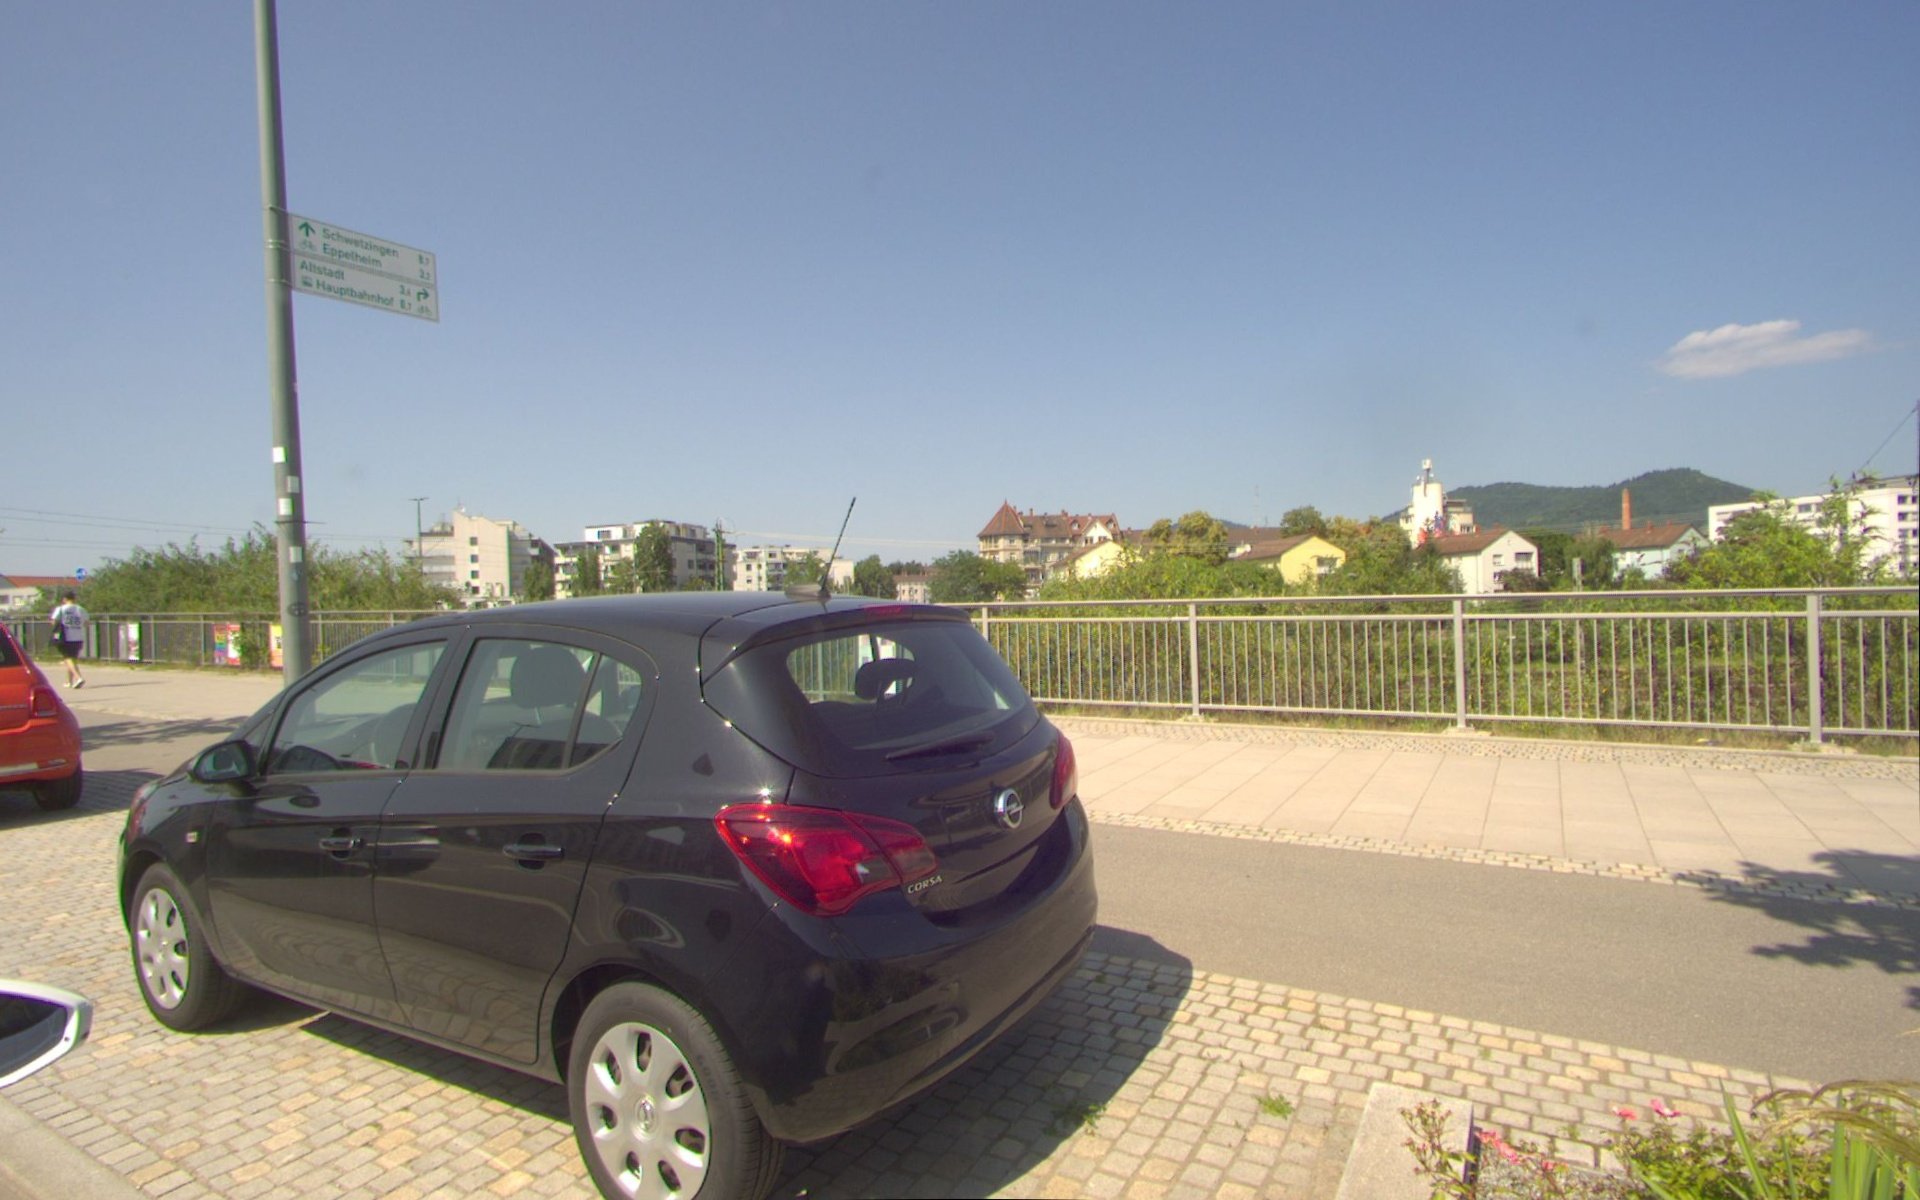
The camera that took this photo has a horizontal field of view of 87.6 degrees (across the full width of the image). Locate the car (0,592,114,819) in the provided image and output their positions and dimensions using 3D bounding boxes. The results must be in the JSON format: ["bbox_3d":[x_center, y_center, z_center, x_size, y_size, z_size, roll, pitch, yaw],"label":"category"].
[{"bbox_3d":[-8.377,0.752,7.731,3.860,1.561,1.666,0,1,32],"label":"car"}]

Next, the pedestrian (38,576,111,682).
[{"bbox_3d":[-16.039,0.536,18.146,0.872,1.853,0.757,-1,-2,32],"label":"pedestrian"}]

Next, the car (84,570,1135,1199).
[{"bbox_3d":[-1.335,0.739,3.494,3.495,1.577,1.577,-1,2,32],"label":"car"}]

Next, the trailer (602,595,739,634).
[{"bbox_3d":[-26.829,1.545,94.546,3.674,3.243,17.244,-1,-3,17],"label":"trailer"}]

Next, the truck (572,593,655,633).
[{"bbox_3d":[-29.511,1.177,85.631,3.672,3.244,6.485,-1,-2,17],"label":"truck"}]

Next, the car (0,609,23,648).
[{"bbox_3d":[-47.439,1.354,47.451,1.897,1.838,4.041,-1,-2,18],"label":"car"}]

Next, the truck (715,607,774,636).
[{"bbox_3d":[-25.374,2.565,118.632,2.459,3.197,9.899,-1,-2,16],"label":"truck"}]

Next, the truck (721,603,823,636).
[{"bbox_3d":[-21.109,2.380,114.408,3.674,3.243,17.876,-1,-3,17],"label":"truck"}]
